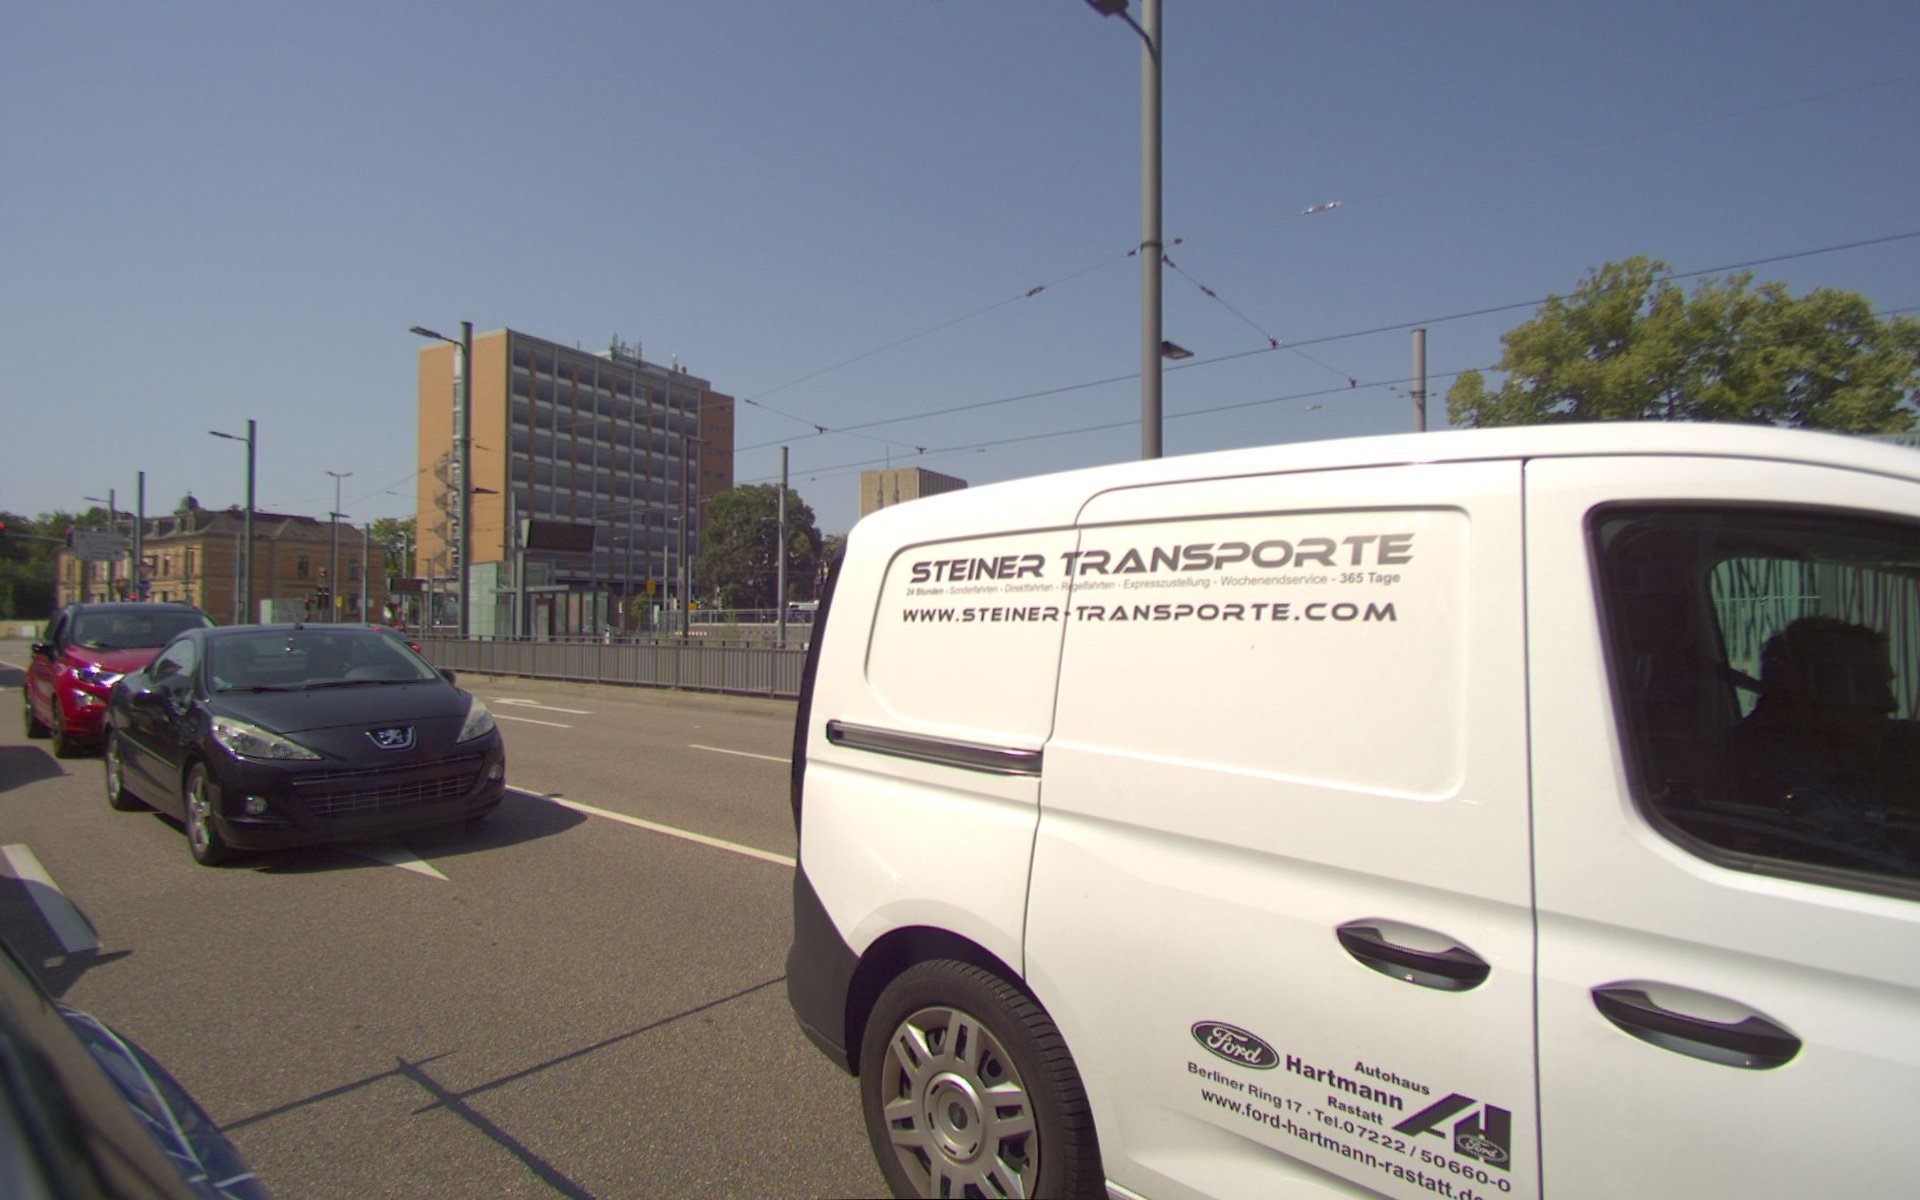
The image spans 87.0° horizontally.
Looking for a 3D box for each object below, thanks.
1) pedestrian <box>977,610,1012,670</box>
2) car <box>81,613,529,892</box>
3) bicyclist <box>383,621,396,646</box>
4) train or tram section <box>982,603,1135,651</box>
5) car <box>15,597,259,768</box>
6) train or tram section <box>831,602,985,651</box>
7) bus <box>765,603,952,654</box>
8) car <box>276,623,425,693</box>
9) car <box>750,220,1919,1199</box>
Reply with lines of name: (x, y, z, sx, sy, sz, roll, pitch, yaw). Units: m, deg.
pedestrian: (1.061, 1.219, 31.152, 0.761, 1.801, 0.735, -2, -3, 42)
car: (-4.745, 0.827, 7.119, 3.799, 1.424, 1.671, -1, -1, 41)
bicyclist: (-44.132, 2.586, 78.345, 0.845, 1.916, 0.666, -1, -1, -28)
train or tram section: (7.961, 2.211, 82.042, 12.180, 3.794, 2.002, 0, -2, -4)
car: (-9.498, 0.816, 11.569, 3.967, 1.633, 1.612, -1, -1, 43)
train or tram section: (-4.192, 2.150, 81.142, 12.180, 3.794, 2.002, 0, -2, -4)
bus: (-7.307, 2.003, 73.628, 13.205, 3.319, 3.354, -1, 0, -4)
car: (-14.074, 1.277, 23.245, 4.573, 1.446, 1.727, -1, -4, 43)
car: (1.615, 0.486, 1.852, 4.237, 1.834, 1.729, -1, -1, 41)
